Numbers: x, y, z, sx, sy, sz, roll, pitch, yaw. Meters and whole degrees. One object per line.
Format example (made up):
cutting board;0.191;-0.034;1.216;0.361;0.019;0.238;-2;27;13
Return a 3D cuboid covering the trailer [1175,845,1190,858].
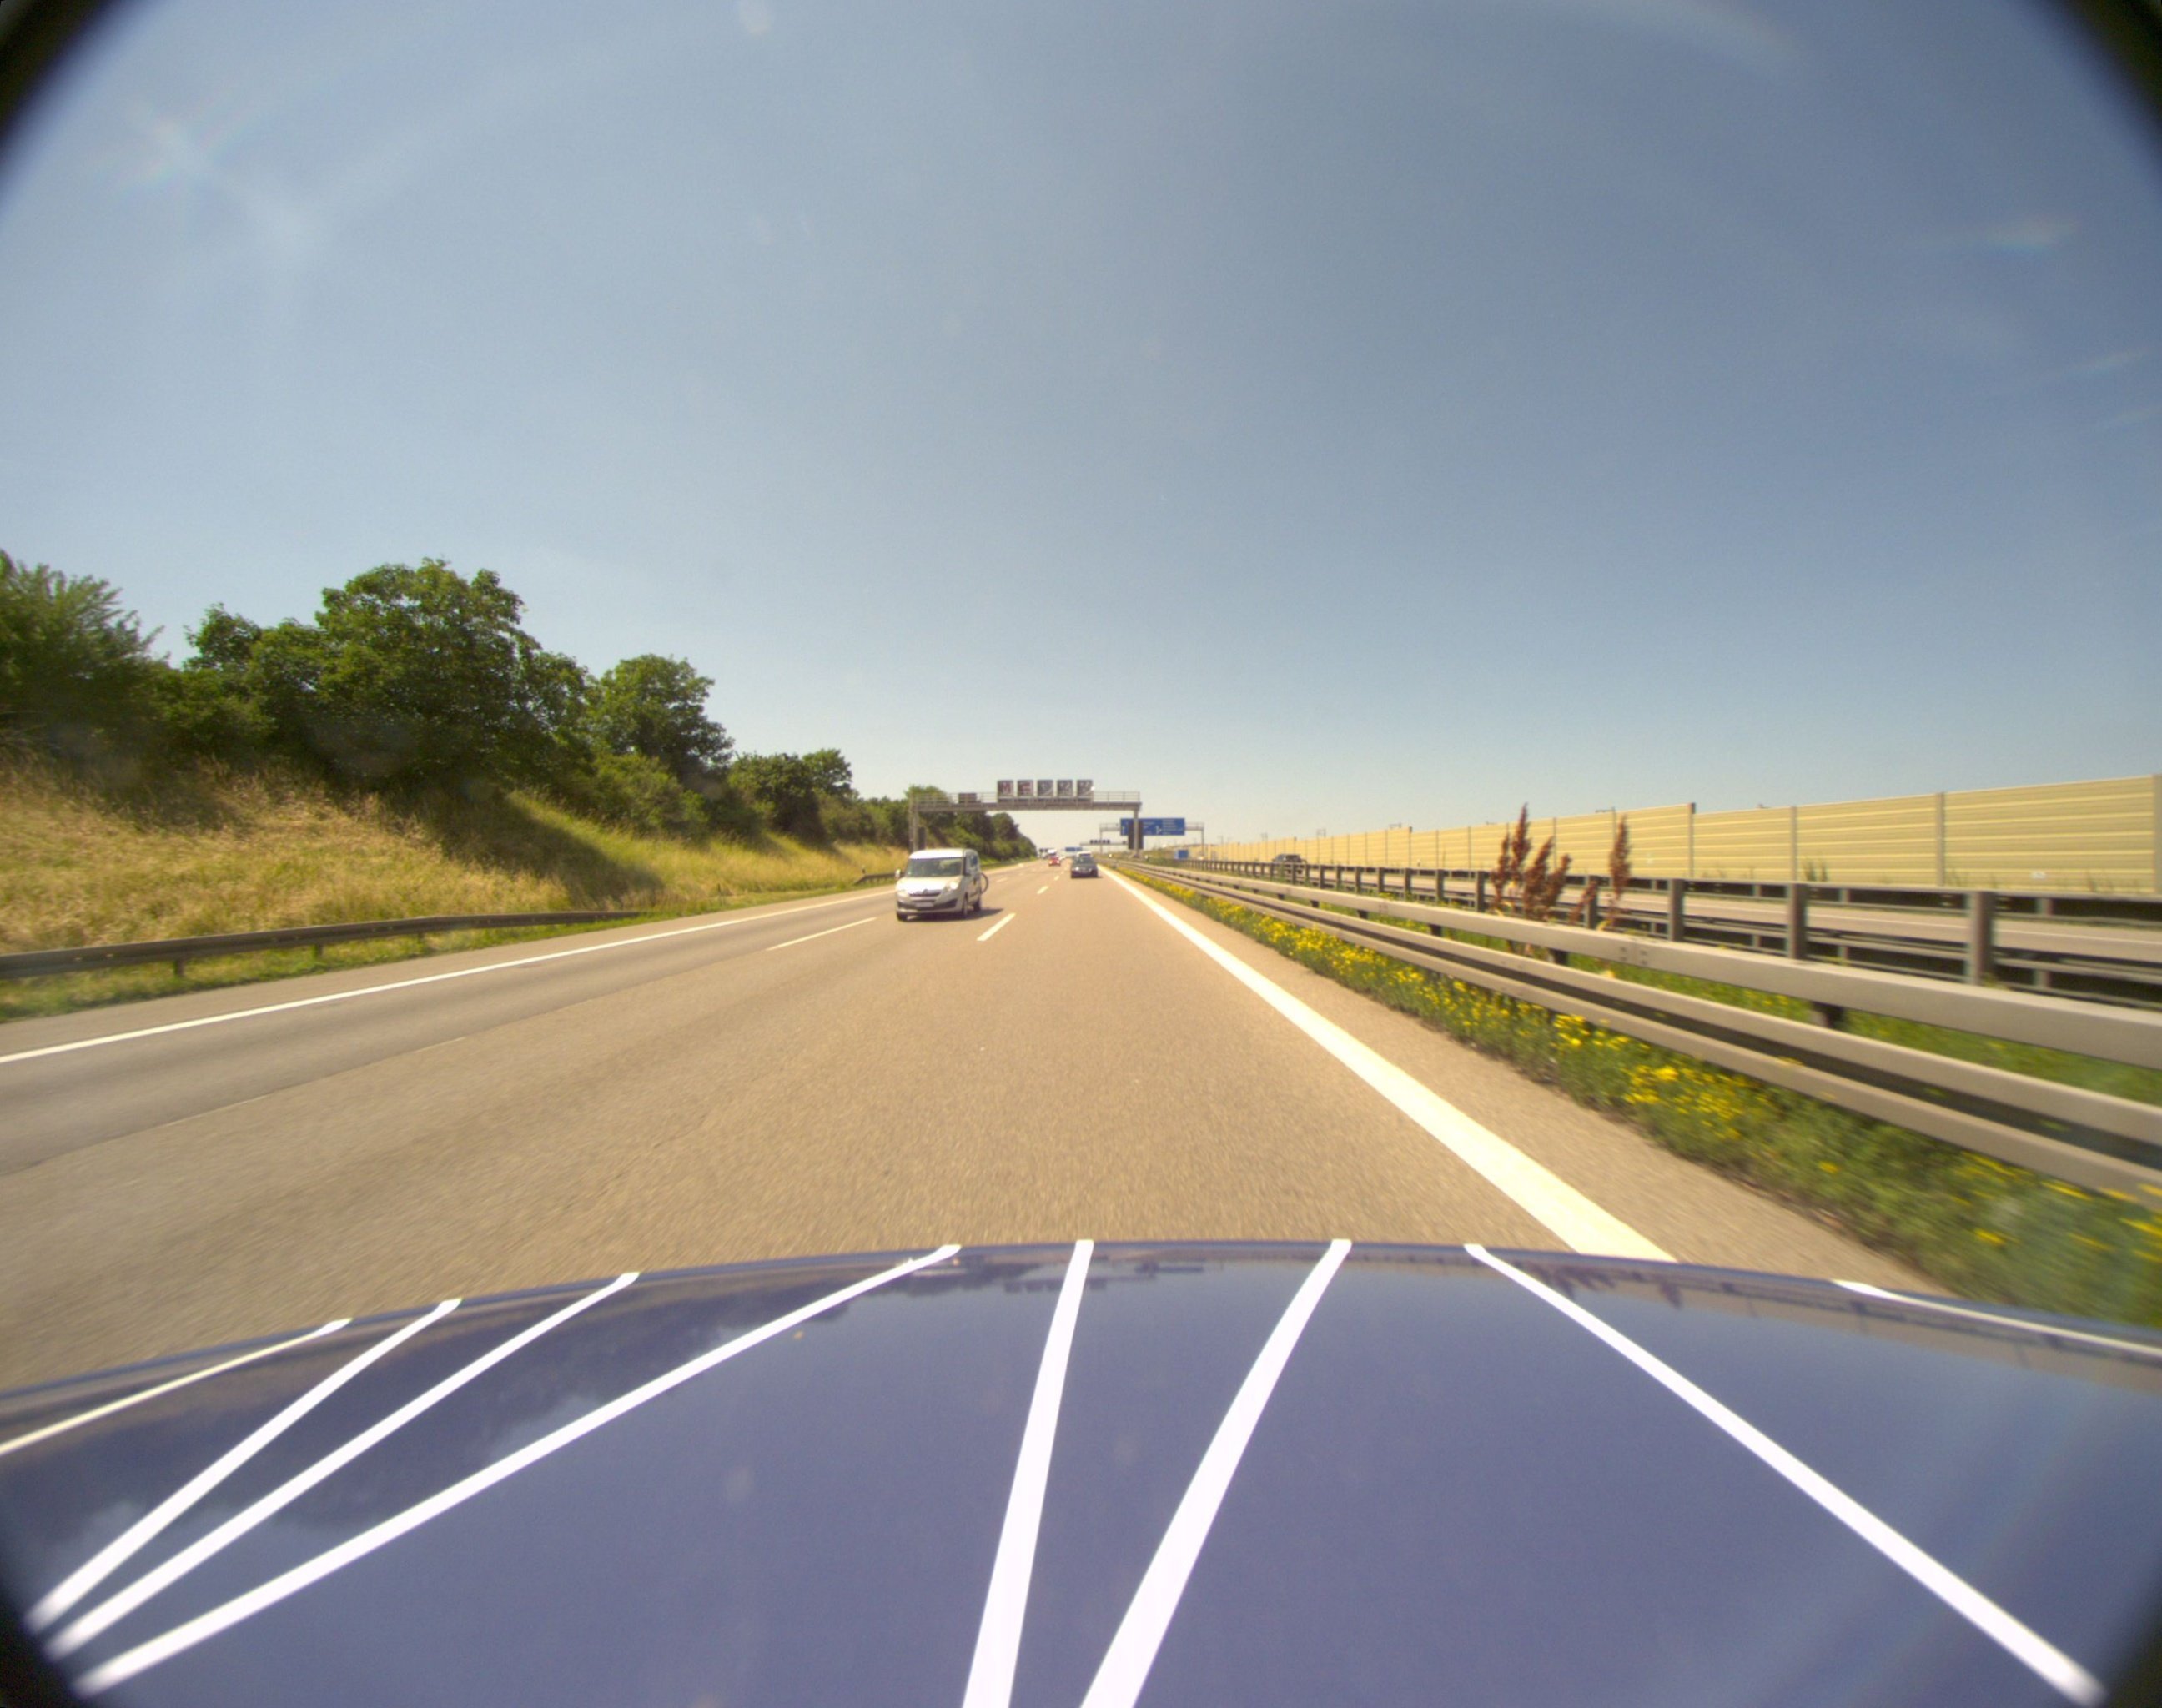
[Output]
trailer;17.821;-0.428;133.924;1.999;2.225;4.204;-2;1;-1

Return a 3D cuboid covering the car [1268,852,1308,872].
car;17.185;0.627;63.277;1.901;1.561;5.246;1;0;0

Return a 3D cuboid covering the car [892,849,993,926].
car;-3.714;0.813;21.315;1.812;1.836;5.311;-2;0;0

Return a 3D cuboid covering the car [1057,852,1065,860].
car;-4.588;0.448;175.280;1.723;1.514;3.581;-2;1;0

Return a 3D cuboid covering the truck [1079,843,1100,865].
truck;0.918;-0.018;90.302;2.333;2.378;6.686;-2;1;0

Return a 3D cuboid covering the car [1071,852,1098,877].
car;0.224;0.674;51.255;1.715;1.586;4.546;-1;0;0

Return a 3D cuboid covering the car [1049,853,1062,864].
car;-3.782;0.620;112.319;1.723;1.514;3.581;-2;1;0
